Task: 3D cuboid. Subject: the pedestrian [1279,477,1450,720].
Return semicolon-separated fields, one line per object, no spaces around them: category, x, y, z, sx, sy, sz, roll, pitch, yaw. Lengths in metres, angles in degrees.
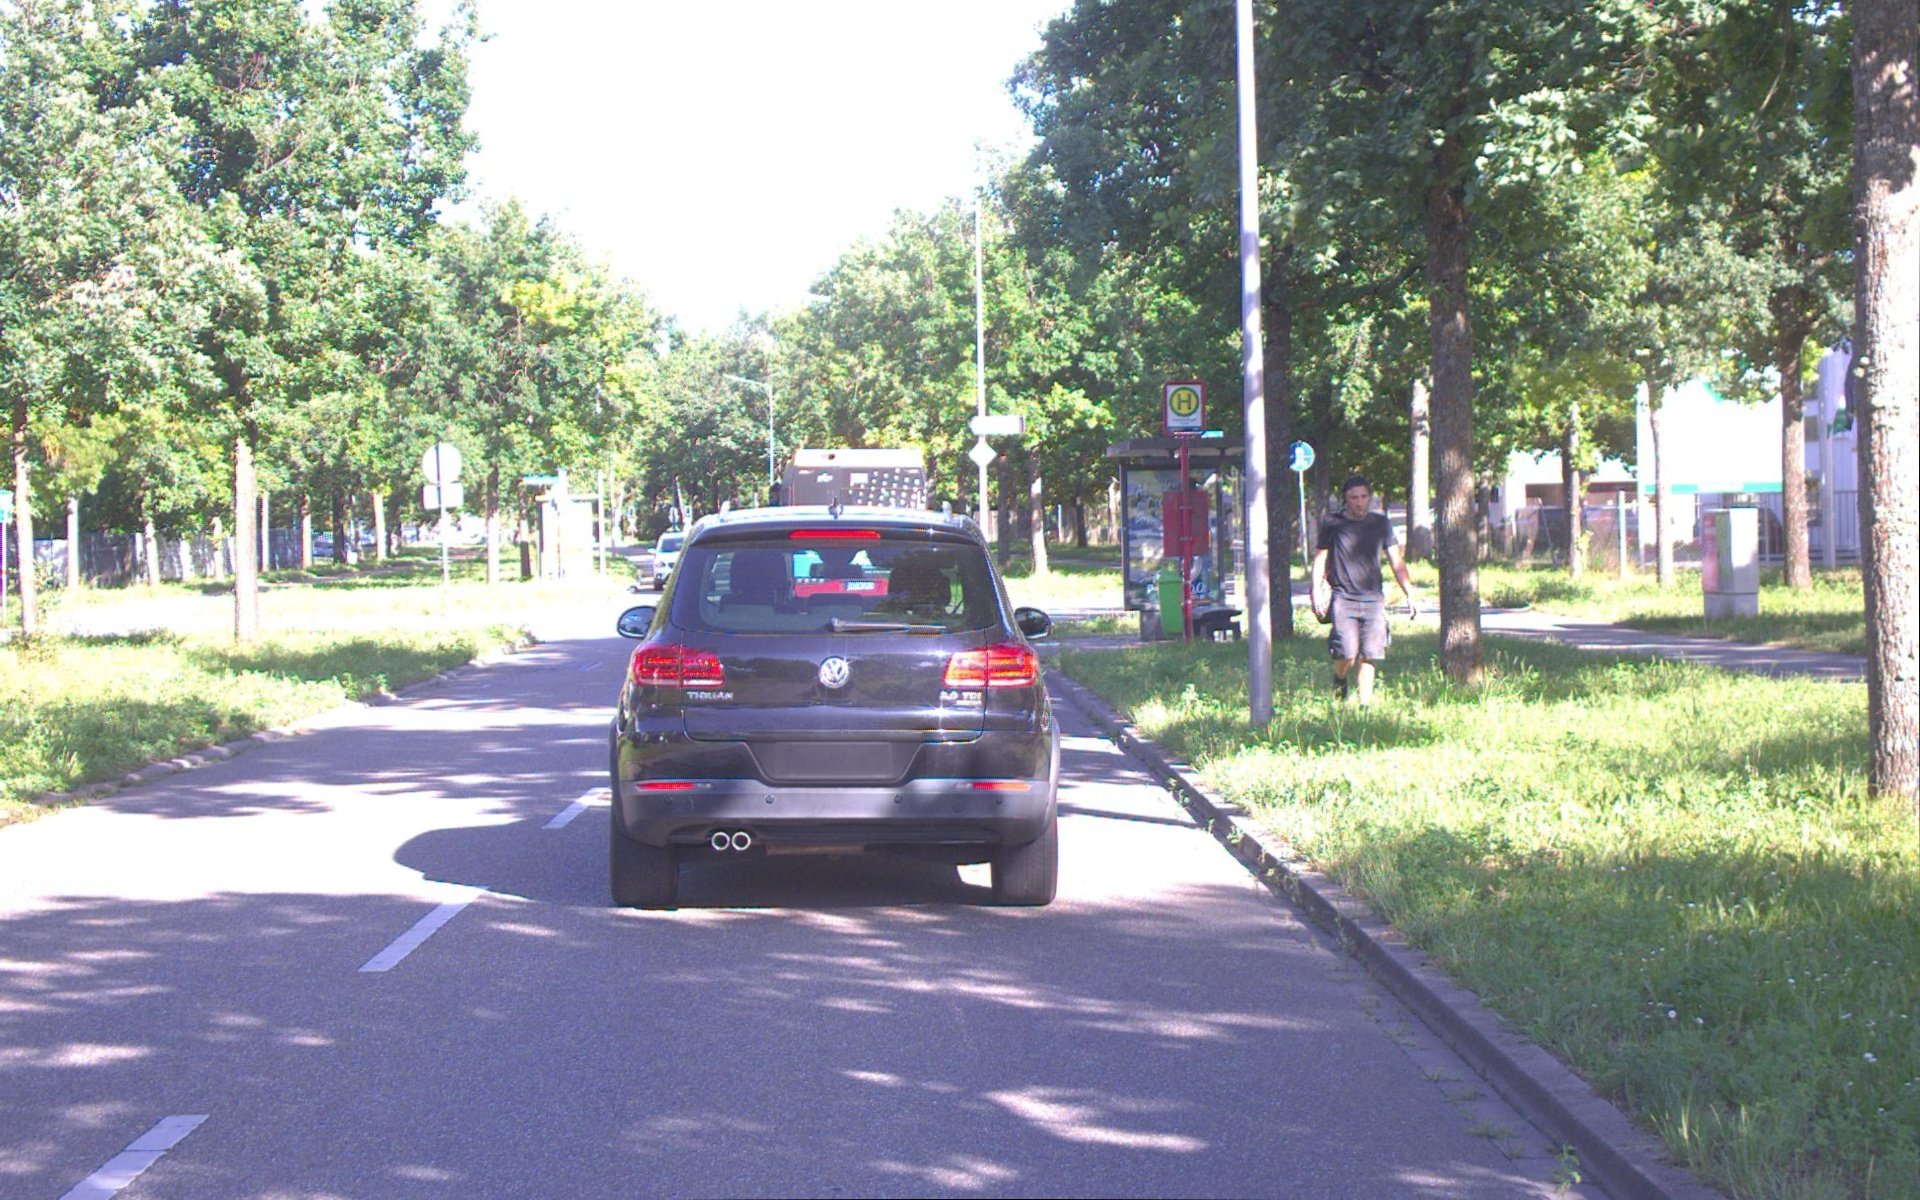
pedestrian;2.829;-0.021;24.162;1.019;1.646;1.100;-1;1;-1

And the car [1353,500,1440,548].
car;16.418;-2.865;129.495;2.184;1.738;4.643;-1;1;-6

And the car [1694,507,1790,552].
car;24.623;-2.233;108.353;1.764;1.379;3.769;-1;2;-6

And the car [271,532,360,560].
car;-33.489;-2.819;178.656;4.198;1.316;1.941;-1;1;1

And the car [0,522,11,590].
car;-28.887;-1.232;98.700;2.035;1.981;5.807;-1;1;-4

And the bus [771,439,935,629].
bus;-2.268;-1.354;68.833;2.764;3.444;11.213;-1;1;-4

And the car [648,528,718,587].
car;-7.470;-1.160;92.329;1.743;1.460;4.428;-2;2;-6

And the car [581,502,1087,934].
car;-0.526;0.394;15.426;1.936;1.650;4.427;0;2;-1

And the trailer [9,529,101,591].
trailer;-29.407;-1.319;111.837;2.102;1.908;3.741;-1;1;-3

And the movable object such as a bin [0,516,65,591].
movable object such as a bin;-28.817;-1.440;104.717;2.102;2.209;4.461;-1;1;-3
